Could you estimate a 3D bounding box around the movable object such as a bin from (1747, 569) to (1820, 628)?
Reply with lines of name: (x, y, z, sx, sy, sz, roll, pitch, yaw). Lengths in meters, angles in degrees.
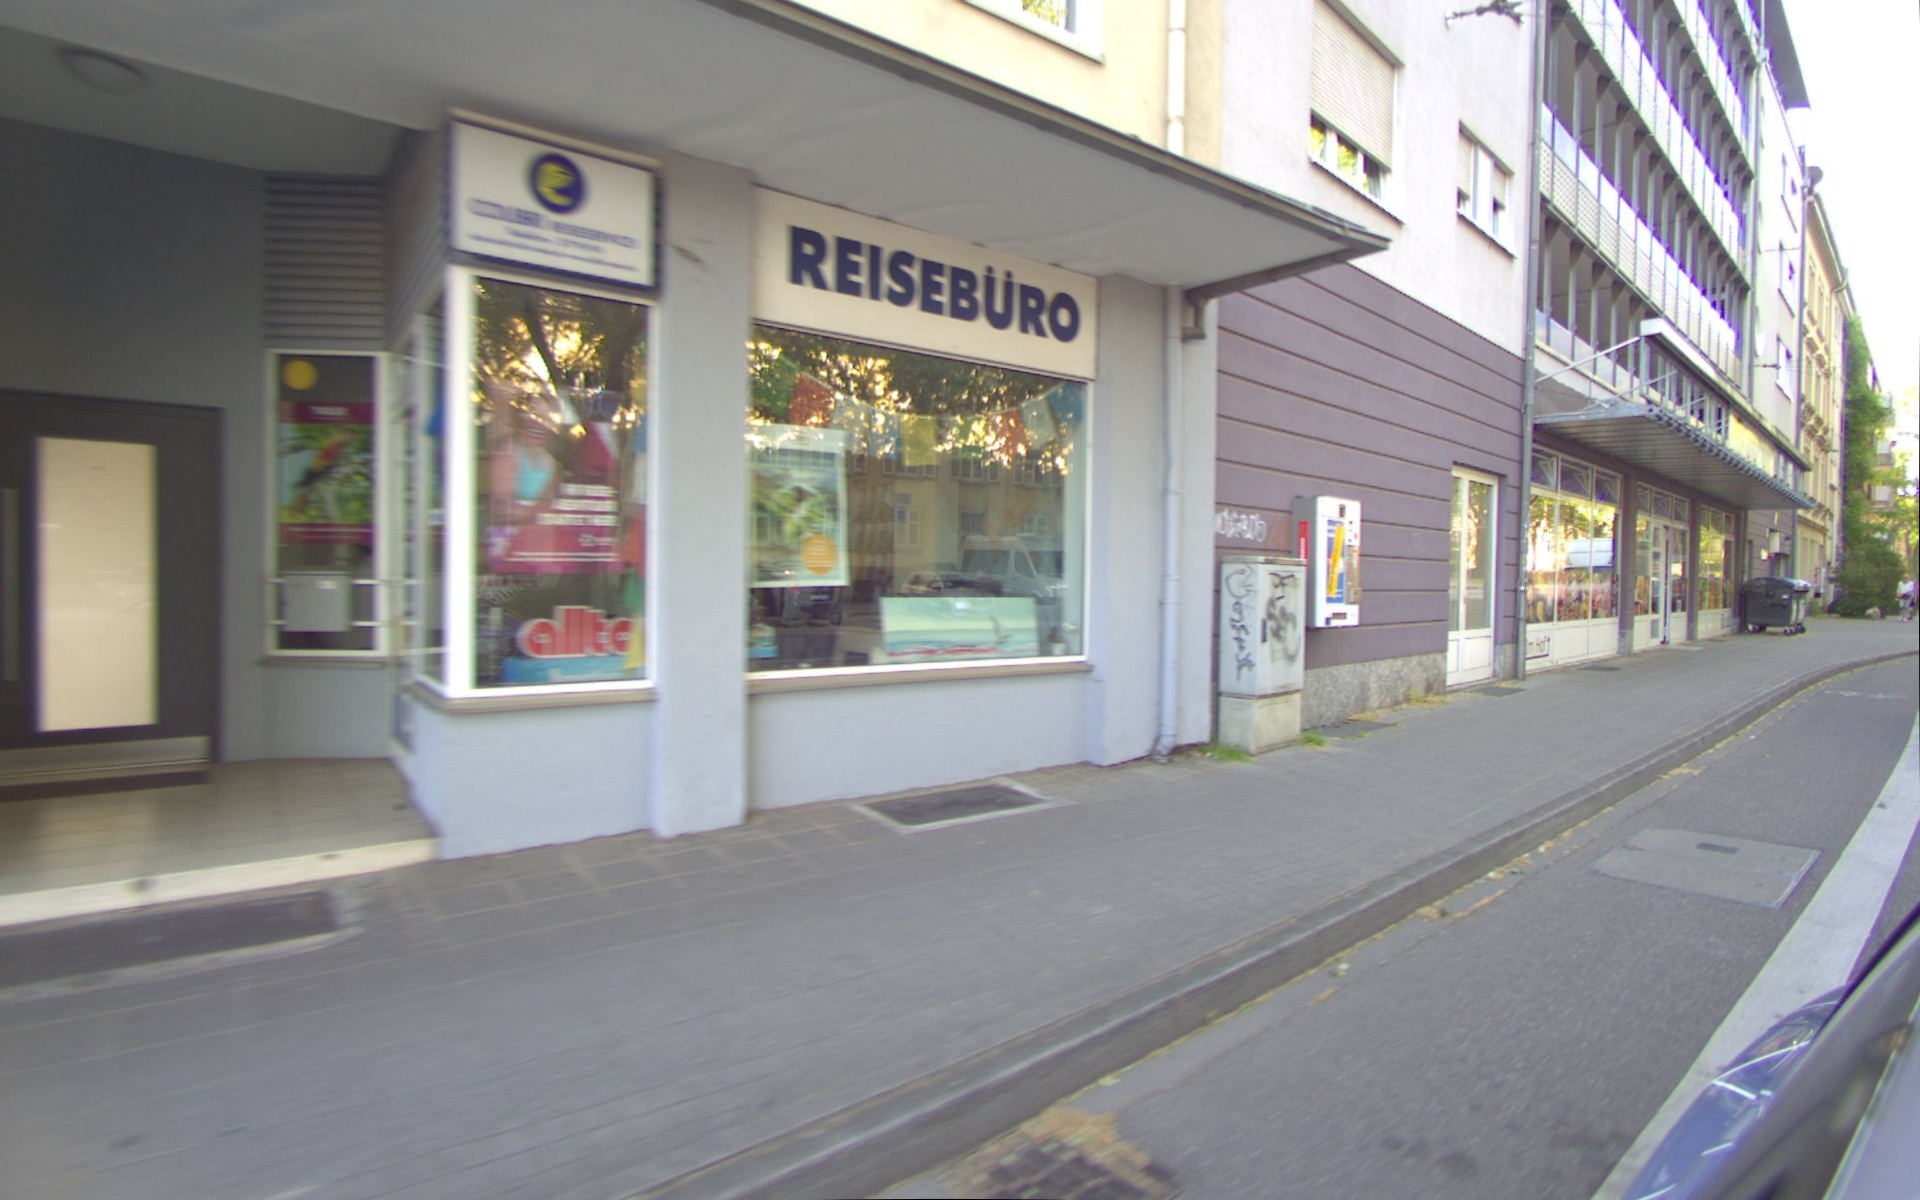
movable object such as a bin: (20.667, -0.061, 25.403, 1.348, 1.427, 1.202, -1, 2, -42)

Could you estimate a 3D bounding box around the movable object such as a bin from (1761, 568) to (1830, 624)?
movable object such as a bin: (22.086, -0.121, 26.764, 1.348, 1.427, 1.202, -1, 2, -42)

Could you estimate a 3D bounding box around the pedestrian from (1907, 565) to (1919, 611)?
pedestrian: (35.050, -0.436, 37.006, 0.619, 1.692, 0.540, -1, 2, -42)
